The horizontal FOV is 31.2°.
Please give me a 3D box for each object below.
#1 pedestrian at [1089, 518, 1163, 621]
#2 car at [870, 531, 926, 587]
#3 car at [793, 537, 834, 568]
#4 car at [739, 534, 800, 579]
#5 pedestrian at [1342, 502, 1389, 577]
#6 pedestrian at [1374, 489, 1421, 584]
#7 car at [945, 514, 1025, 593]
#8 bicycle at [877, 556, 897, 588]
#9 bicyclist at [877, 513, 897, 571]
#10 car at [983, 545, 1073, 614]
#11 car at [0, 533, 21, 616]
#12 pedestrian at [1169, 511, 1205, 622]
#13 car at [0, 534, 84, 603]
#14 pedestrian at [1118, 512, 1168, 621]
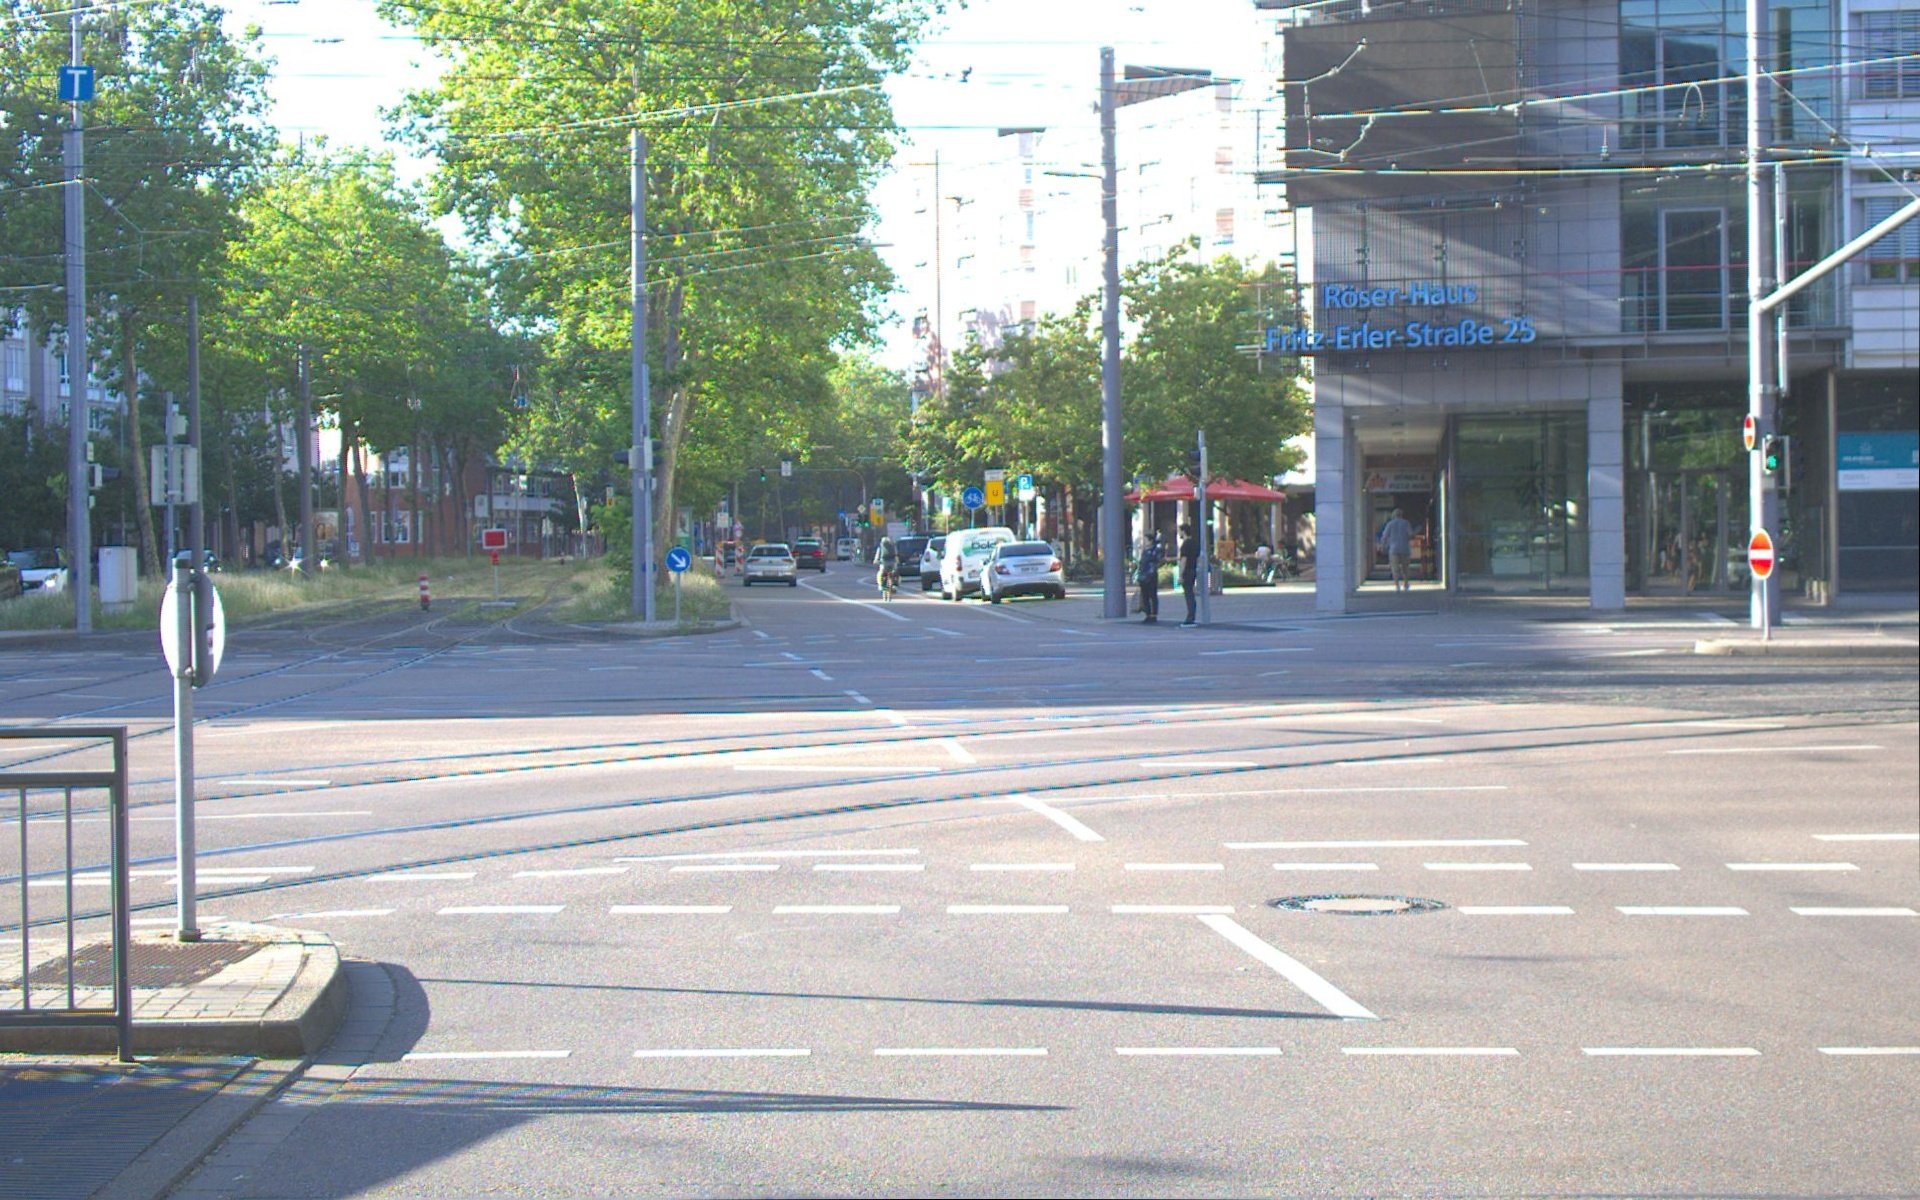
[{"bbox_3d":[3.181,-0.586,66.110,1.342,1.944,1.011,-1,0,-1],"label":"pedestrian"},{"bbox_3d":[-2.277,-1.518,126.720,1.993,2.007,4.000,1,1,-1],"label":"car"},{"bbox_3d":[-6.863,-2.224,160.650,1.763,1.399,4.297,0,1,-4],"label":"car"},{"bbox_3d":[-6.371,-1.484,115.397,1.748,1.413,4.000,0,2,1],"label":"car"},{"bbox_3d":[11.957,-1.773,101.394,1.313,2.182,1.170,1,0,6],"label":"pedestrian"},{"bbox_3d":[9.414,-1.369,73.980,0.869,2.007,0.794,1,-1,-1],"label":"pedestrian"},{"bbox_3d":[0.623,-1.205,89.553,1.993,2.007,4.000,1,1,-1],"label":"car"},{"bbox_3d":[-1.824,-0.698,85.830,0.490,0.785,1.862,0,1,-1],"label":"bicycle"},{"bbox_3d":[-1.823,-1.443,85.728,0.486,1.434,0.615,1,1,-1],"label":"bicyclist"},{"bbox_3d":[1.602,-0.490,82.598,2.029,1.590,4.000,1,1,-1],"label":"car"},{"bbox_3d":[-21.752,-0.546,75.007,1.822,1.784,4.001,-1,1,-7],"label":"car"},{"bbox_3d":[4.115,-0.606,62.440,0.586,2.007,0.620,1,0,0],"label":"pedestrian"},{"bbox_3d":[-22.240,-0.765,82.735,1.676,1.601,4.001,1,1,-6],"label":"car"},{"bbox_3d":[3.426,-0.625,64.341,0.849,2.007,0.708,1,0,-2],"label":"pedestrian"}]
